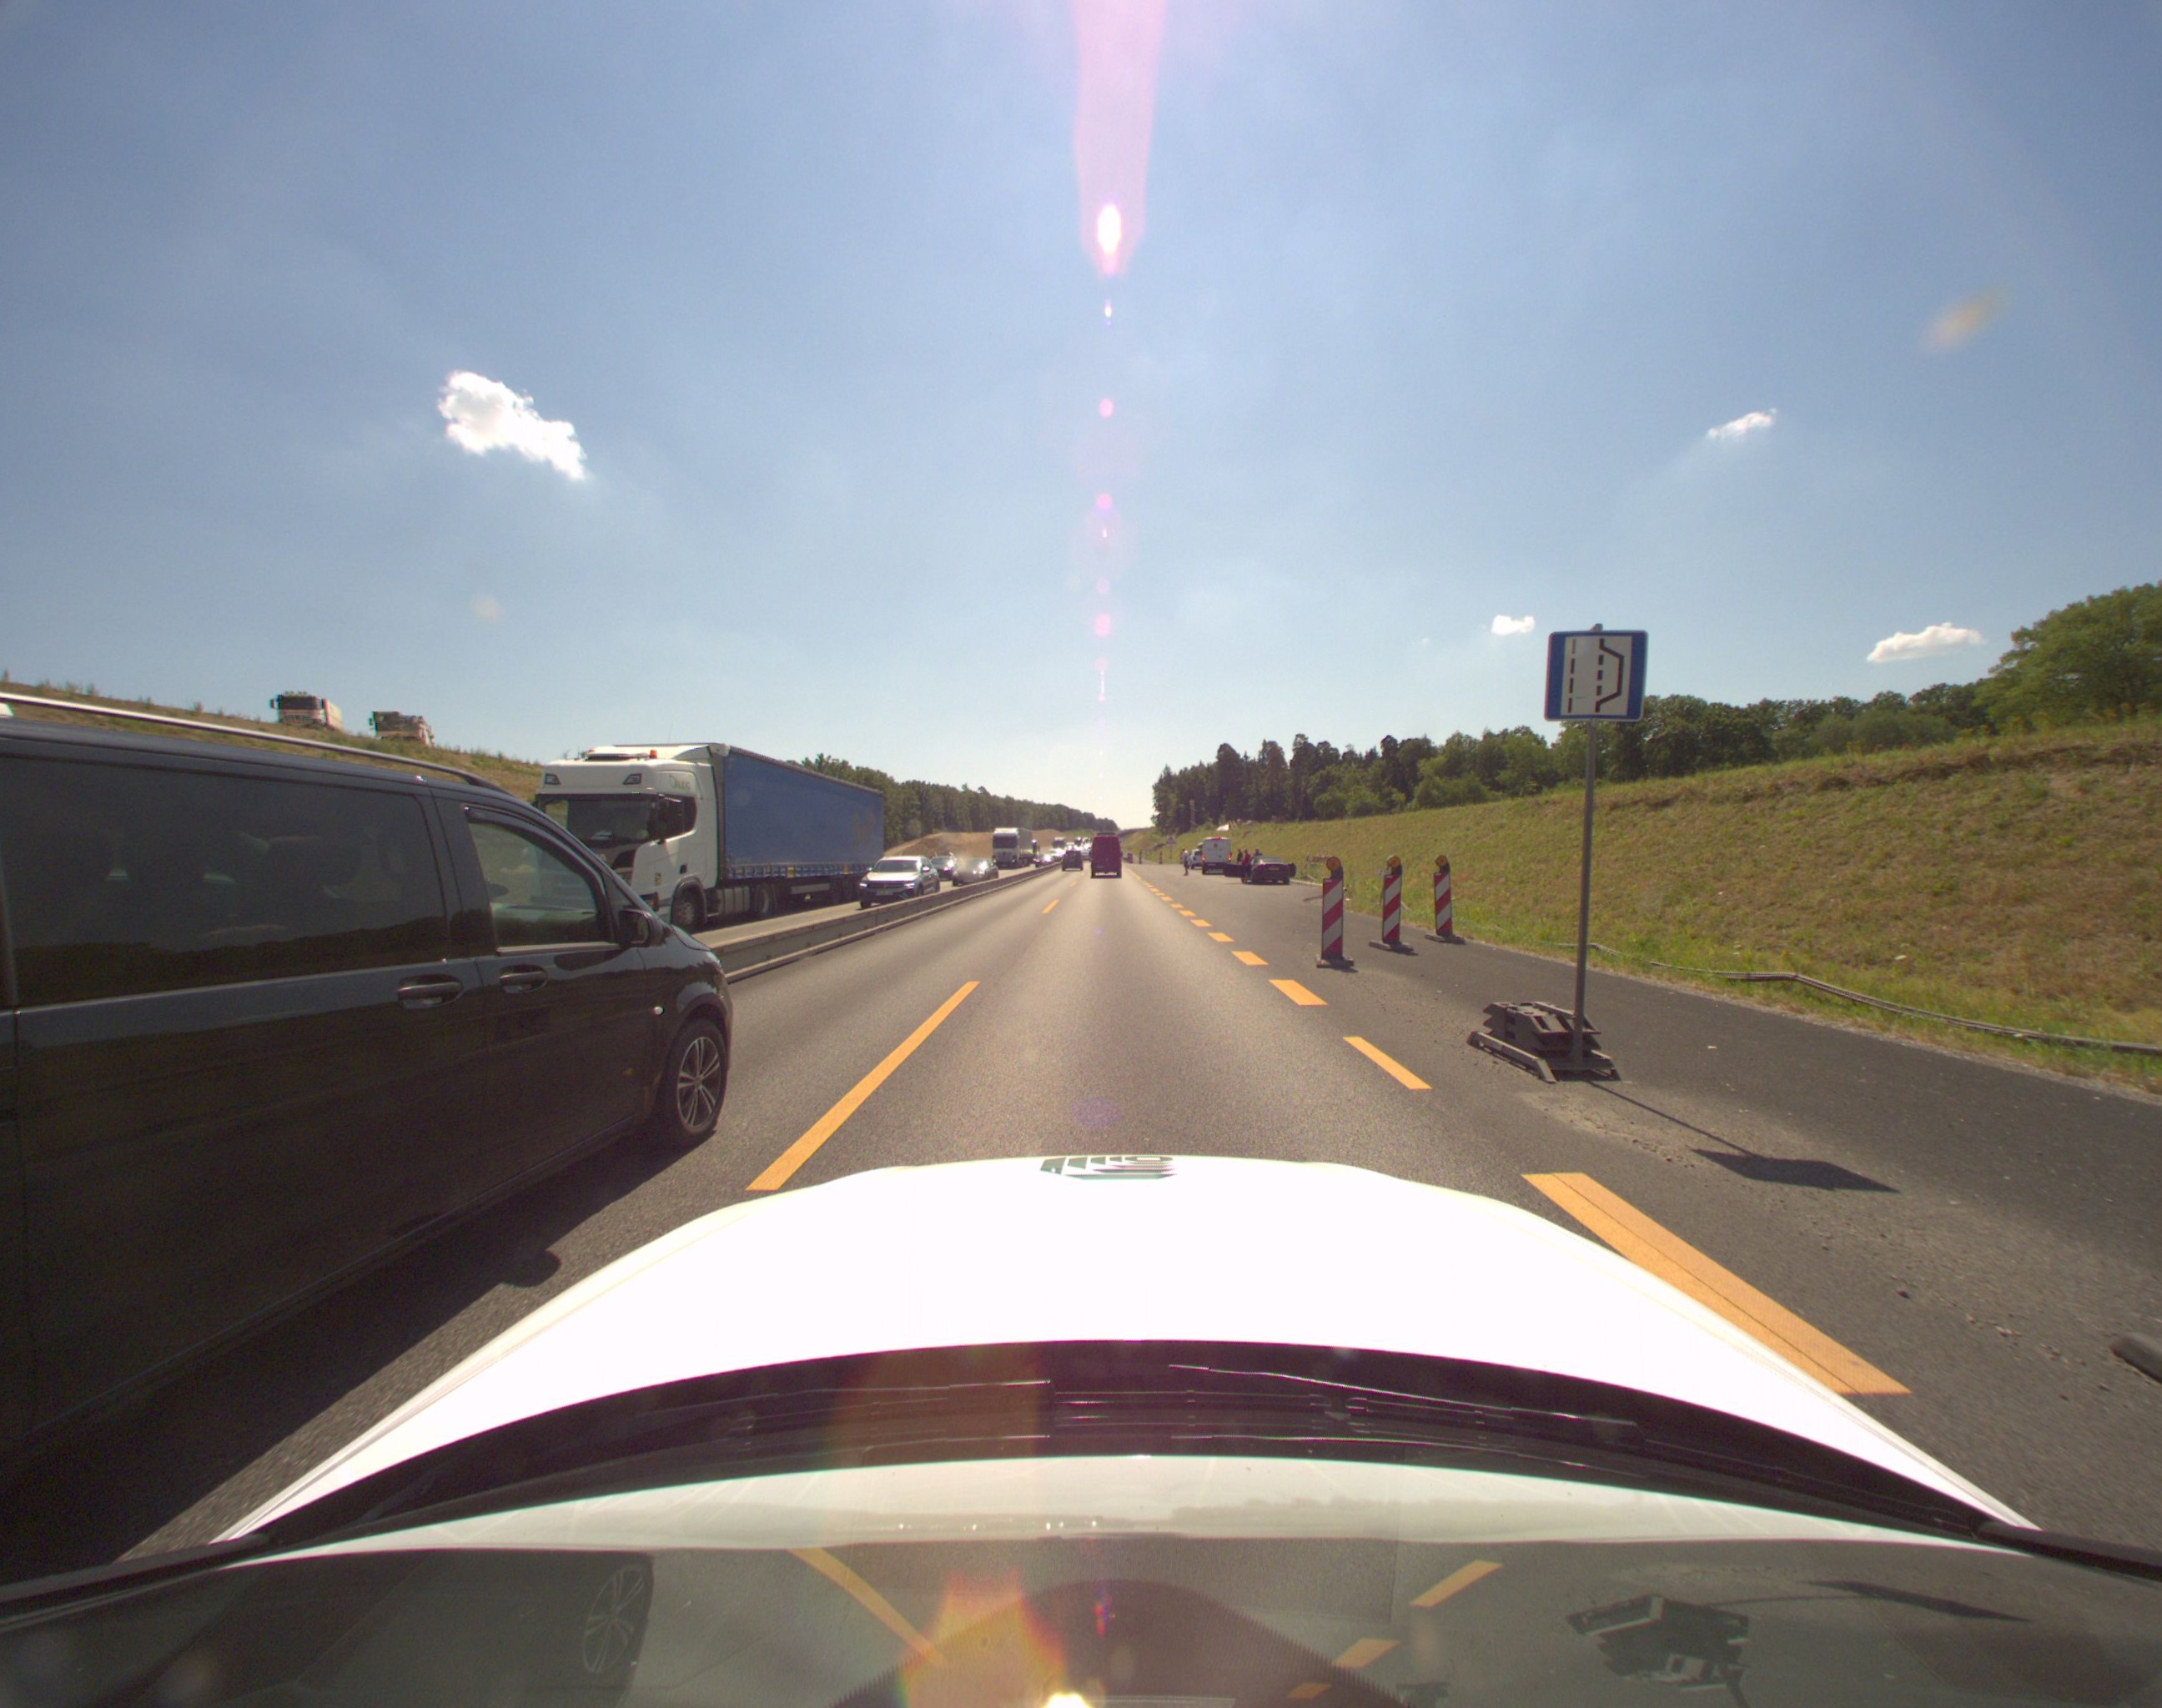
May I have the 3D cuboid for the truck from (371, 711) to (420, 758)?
[{"bbox_3d":[-60.473,-10.474,71.984,2.311,2.749,8.812,1,-1,-34],"label":"truck"}]

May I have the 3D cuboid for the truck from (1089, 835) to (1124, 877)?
[{"bbox_3d":[1.659,0.143,53.276,2.145,2.590,5.334,0,-1,1],"label":"truck"}]

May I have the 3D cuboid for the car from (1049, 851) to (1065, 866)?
[{"bbox_3d":[-3.160,0.592,107.649,1.819,1.927,5.264,0,-1,1],"label":"car"}]

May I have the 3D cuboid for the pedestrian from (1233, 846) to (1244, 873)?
[{"bbox_3d":[10.600,0.396,54.791,0.561,1.795,0.667,0,-1,0],"label":"pedestrian"}]

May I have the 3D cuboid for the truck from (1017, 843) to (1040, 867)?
[{"bbox_3d":[-6.760,0.117,105.786,2.389,3.059,5.065,0,-1,2],"label":"truck"}]

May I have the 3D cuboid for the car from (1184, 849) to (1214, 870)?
[{"bbox_3d":[10.420,0.462,72.297,1.770,1.677,4.852,0,1,-2],"label":"car"}]

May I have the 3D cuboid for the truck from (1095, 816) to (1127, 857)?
[{"bbox_3d":[4.341,-2.405,120.251,4.384,5.496,16.608,0,-1,2],"label":"truck"}]

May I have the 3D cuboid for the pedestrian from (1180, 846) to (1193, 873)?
[{"bbox_3d":[7.109,0.391,54.903,0.722,1.828,0.718,0,-1,-7],"label":"pedestrian"}]

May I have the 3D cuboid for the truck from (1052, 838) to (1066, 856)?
[{"bbox_3d":[-4.786,-1.476,178.333,2.499,3.617,9.646,0,-1,2],"label":"truck"}]

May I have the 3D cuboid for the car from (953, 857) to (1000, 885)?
[{"bbox_3d":[-5.392,0.877,42.458,1.723,1.387,4.861,0,-1,1],"label":"car"}]

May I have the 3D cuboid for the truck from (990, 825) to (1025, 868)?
[{"bbox_3d":[-7.165,-0.663,80.103,2.758,4.044,4.945,0,-1,2],"label":"truck"}]

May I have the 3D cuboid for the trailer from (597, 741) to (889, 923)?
[{"bbox_3d":[-8.998,-0.459,24.710,2.643,3.938,14.001,0,0,2],"label":"trailer"}]

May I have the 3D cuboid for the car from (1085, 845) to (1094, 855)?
[{"bbox_3d":[1.957,-0.876,180.003,1.986,2.014,4.000,0,-1,1],"label":"car"}]

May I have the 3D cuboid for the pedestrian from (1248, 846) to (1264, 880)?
[{"bbox_3d":[9.380,0.476,43.667,0.624,1.828,0.640,0,0,-10],"label":"pedestrian"}]

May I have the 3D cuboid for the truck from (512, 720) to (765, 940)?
[{"bbox_3d":[-9.151,-0.440,17.583,2.583,4.053,5.150,0,0,1],"label":"truck"}]

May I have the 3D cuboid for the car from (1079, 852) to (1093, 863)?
[{"bbox_3d":[0.663,0.503,114.045,1.824,1.522,3.962,0,-1,2],"label":"car"}]

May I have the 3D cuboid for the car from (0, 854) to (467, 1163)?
[{"bbox_3d":[-6.099,0.758,4.714,1.801,1.488,4.243,0,-1,1],"label":"car"}]

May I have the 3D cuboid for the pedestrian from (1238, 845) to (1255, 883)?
[{"bbox_3d":[8.163,0.491,40.226,0.642,1.828,0.555,0,0,-20],"label":"pedestrian"}]

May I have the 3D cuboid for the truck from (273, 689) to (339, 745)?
[{"bbox_3d":[-61.243,-10.704,64.493,2.371,2.898,8.279,1,-1,-34],"label":"truck"}]

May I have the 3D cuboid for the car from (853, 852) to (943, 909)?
[{"bbox_3d":[-5.616,0.766,25.482,1.769,1.555,4.139,-3,0,1],"label":"car"}]

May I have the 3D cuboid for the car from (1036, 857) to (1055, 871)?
[{"bbox_3d":[-3.677,1.044,85.234,1.721,1.387,4.484,0,-1,1],"label":"car"}]

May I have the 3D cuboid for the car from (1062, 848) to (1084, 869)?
[{"bbox_3d":[-0.678,0.362,71.386,1.745,1.824,4.784,0,0,2],"label":"car"}]

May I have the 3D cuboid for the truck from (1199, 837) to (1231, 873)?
[{"bbox_3d":[9.621,0.040,58.623,2.117,2.457,5.940,0,0,9],"label":"truck"}]

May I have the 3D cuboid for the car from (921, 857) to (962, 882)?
[{"bbox_3d":[-8.490,0.947,49.915,1.625,1.424,4.502,0,-1,1],"label":"car"}]

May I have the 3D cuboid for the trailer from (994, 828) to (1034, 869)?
[{"bbox_3d":[-6.966,-0.592,87.220,2.780,4.075,13.715,0,0,1],"label":"trailer"}]

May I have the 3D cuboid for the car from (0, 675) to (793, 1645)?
[{"bbox_3d":[-2.960,0.591,2.762,1.867,1.851,5.481,0,0,2],"label":"car"}]

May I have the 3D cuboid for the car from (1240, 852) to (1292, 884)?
[{"bbox_3d":[9.148,0.652,40.567,1.647,1.426,4.547,-3,0,2],"label":"car"}]
